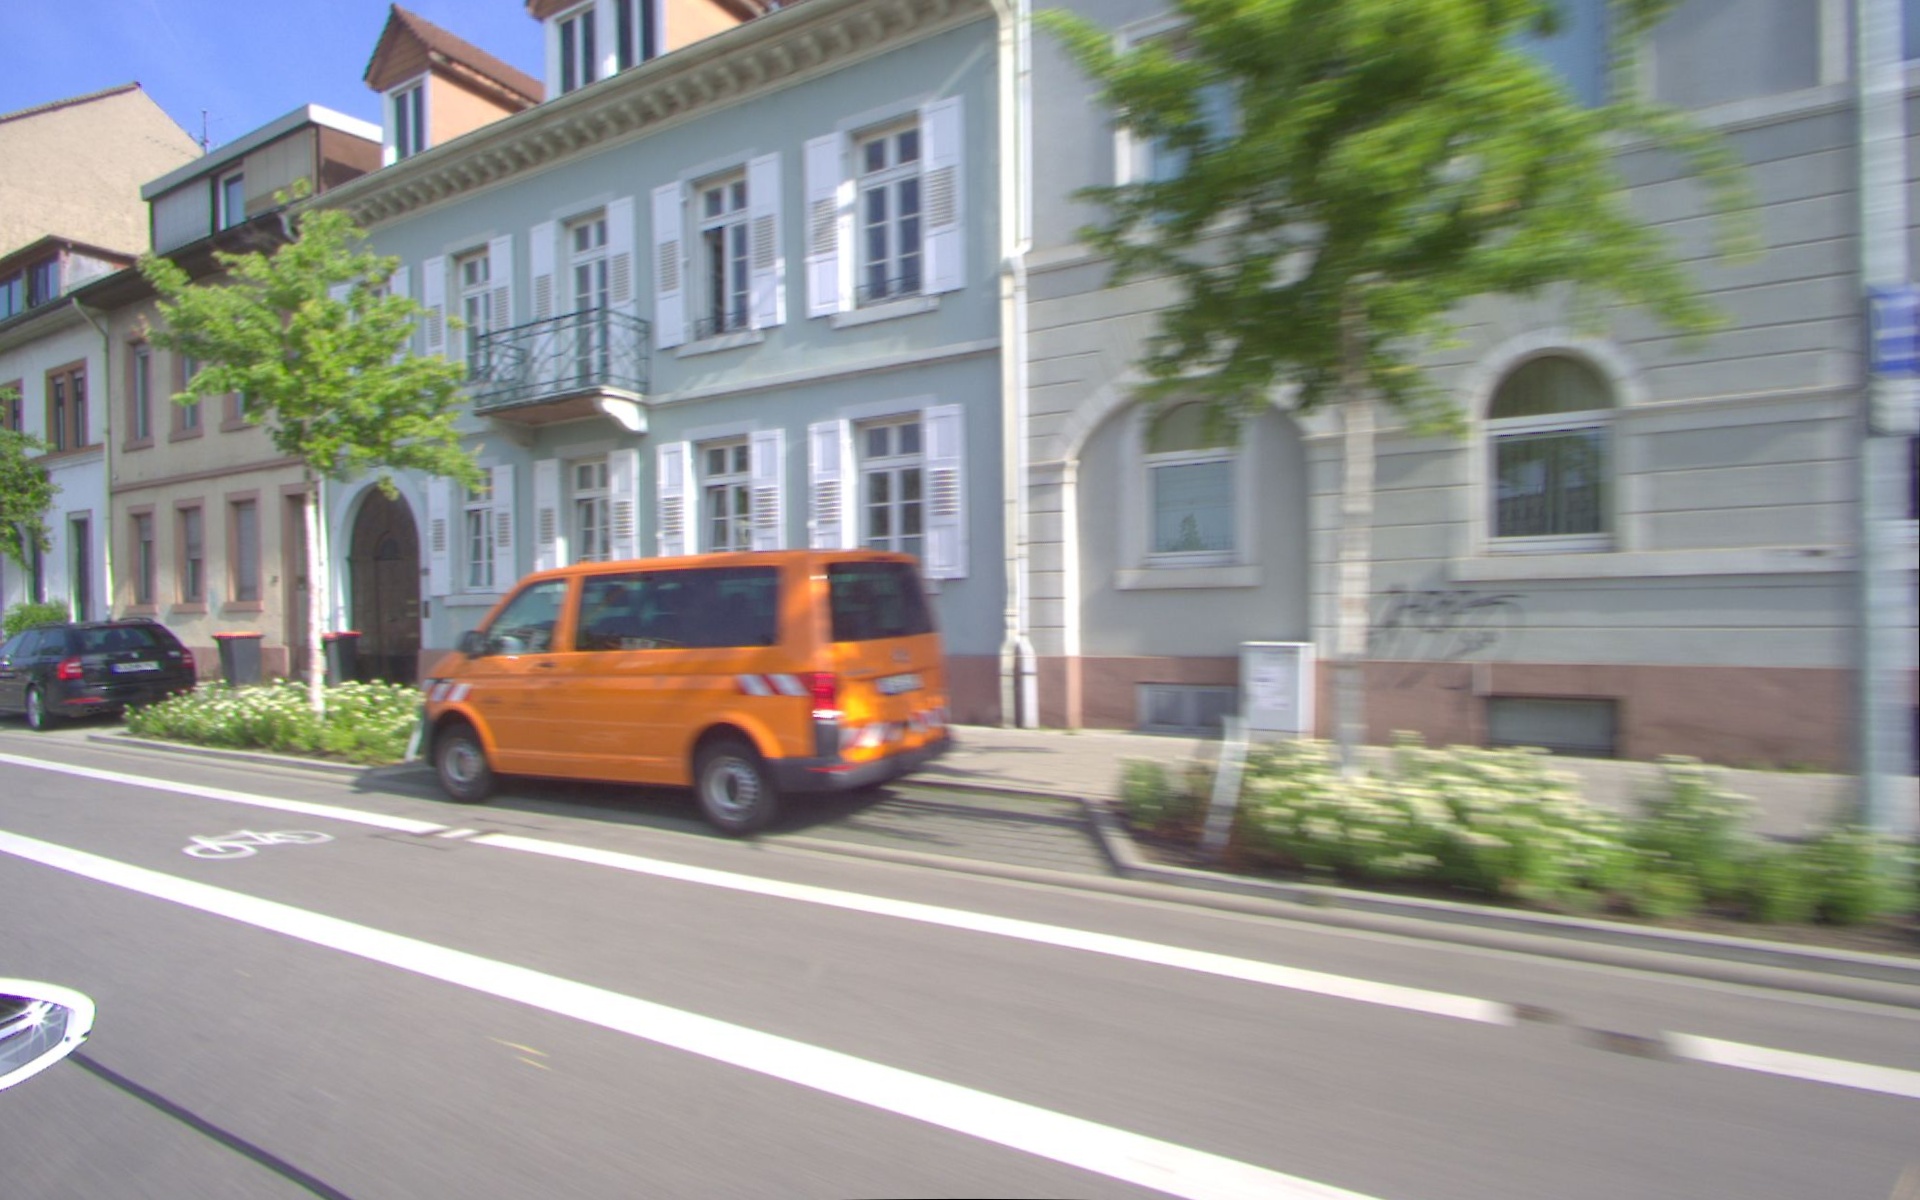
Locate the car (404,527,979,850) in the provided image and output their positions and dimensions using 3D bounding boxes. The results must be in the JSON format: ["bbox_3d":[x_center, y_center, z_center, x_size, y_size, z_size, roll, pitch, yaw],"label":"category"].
[{"bbox_3d":[-2.311,0.565,8.353,4.519,2.040,2.060,0,0,30],"label":"car"}]

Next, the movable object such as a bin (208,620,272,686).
[{"bbox_3d":[-13.696,0.983,19.045,0.762,1.216,0.739,0,0,29],"label":"movable object such as a bin"}]

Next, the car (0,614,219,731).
[{"bbox_3d":[-13.133,0.996,15.018,4.248,1.503,1.671,-1,1,30],"label":"car"}]

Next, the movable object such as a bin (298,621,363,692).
[{"bbox_3d":[-11.073,0.980,17.616,0.769,1.216,0.678,0,0,29],"label":"movable object such as a bin"}]
